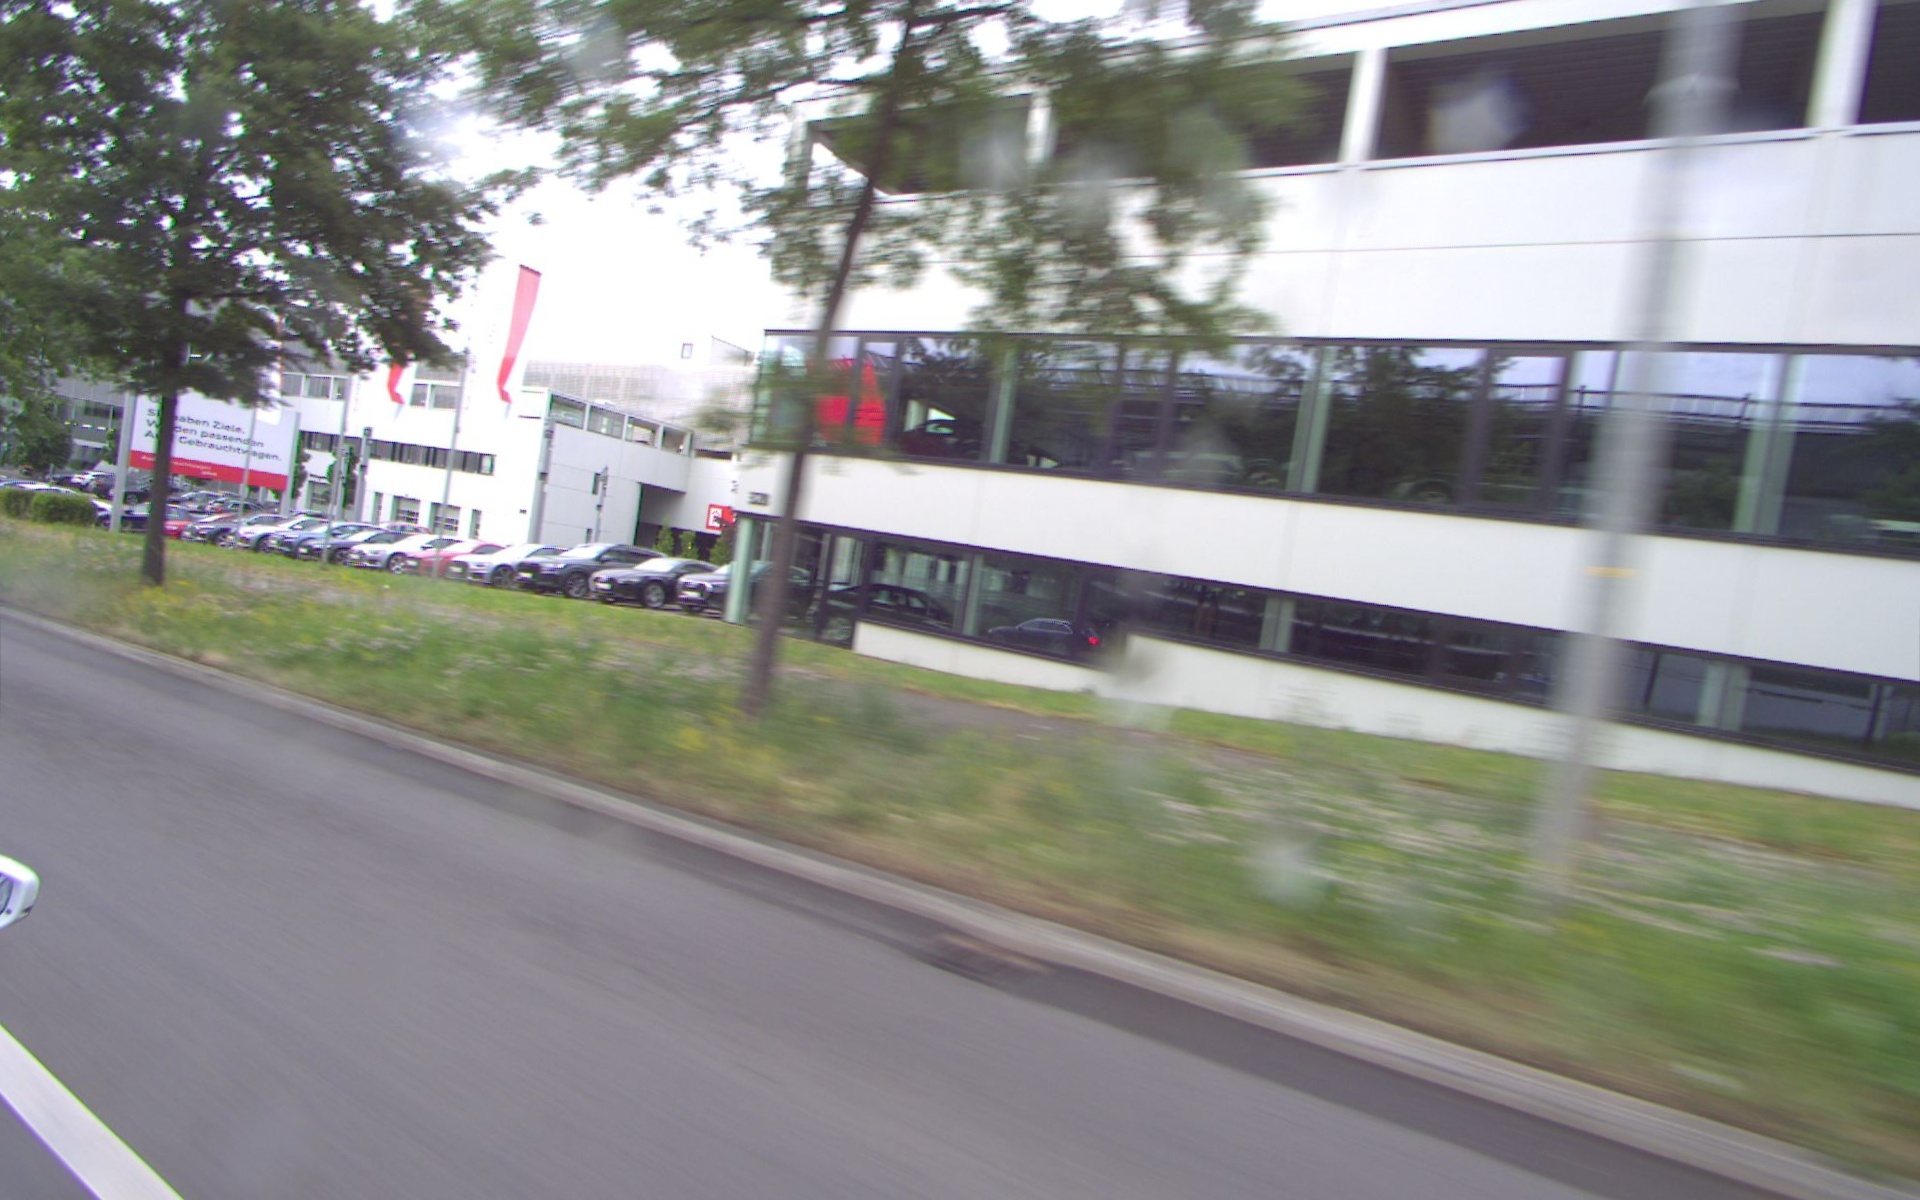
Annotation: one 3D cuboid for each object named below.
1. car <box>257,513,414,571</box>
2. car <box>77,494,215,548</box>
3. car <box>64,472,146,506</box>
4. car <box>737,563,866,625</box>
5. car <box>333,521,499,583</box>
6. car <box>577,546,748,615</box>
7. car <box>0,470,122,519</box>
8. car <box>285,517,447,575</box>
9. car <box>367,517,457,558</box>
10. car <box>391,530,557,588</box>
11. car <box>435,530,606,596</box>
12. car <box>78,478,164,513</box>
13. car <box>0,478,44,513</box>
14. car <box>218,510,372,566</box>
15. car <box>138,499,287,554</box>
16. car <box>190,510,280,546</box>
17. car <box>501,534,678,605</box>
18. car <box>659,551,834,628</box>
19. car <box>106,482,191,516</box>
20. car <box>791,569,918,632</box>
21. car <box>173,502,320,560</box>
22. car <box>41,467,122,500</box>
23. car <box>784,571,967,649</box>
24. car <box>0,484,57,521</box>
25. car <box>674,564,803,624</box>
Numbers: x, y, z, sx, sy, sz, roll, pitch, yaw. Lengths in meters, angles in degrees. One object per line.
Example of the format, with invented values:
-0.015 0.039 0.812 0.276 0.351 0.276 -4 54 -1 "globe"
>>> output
-22.872 -2.090 37.015 1.899 1.547 4.466 6 0 31 "car"
-34.771 -3.354 43.049 4.279 1.613 1.838 7 0 0 "car"
-61.818 -8.006 72.783 1.664 1.592 4.114 8 -1 30 "car"
-5.131 -0.157 33.120 1.796 1.570 4.284 6 -1 29 "car"
-18.155 -1.569 33.777 1.899 1.473 4.468 6 -1 31 "car"
-7.939 -0.469 27.276 1.805 1.395 4.326 6 0 29 "car"
-44.174 -5.131 49.408 1.913 1.613 4.119 6 -2 23 "car"
-20.712 -1.852 35.287 1.899 1.474 4.466 6 0 31 "car"
-35.133 -3.967 64.583 1.968 1.877 4.531 7 -1 35 "car"
-15.372 -1.267 32.075 1.899 1.365 4.402 6 0 31 "car"
-13.196 -1.074 30.456 1.859 1.445 4.402 6 0 31 "car"
-57.864 -7.190 69.442 1.795 1.592 4.114 8 -1 30 "car"
-52.514 -5.847 54.049 1.664 1.613 4.527 6 -1 30 "car"
-25.375 -2.335 38.524 1.899 1.570 4.466 6 0 31 "car"
-30.526 -2.970 41.238 1.897 1.569 4.471 6 -1 27 "car"
-44.780 -4.439 62.252 1.664 1.593 4.113 6 -1 30 "car"
-10.574 -0.828 29.020 2.006 1.519 4.402 6 0 31 "car"
-5.457 -0.226 26.261 1.899 1.499 4.404 6 -1 31 "car"
-55.261 -6.865 68.567 1.664 1.593 4.112 9 0 30 "car"
-3.278 0.069 32.164 1.796 1.570 4.284 6 -1 29 "car"
-28.010 -2.668 39.640 1.796 1.613 4.284 6 -1 29 "car"
-65.524 -8.670 75.064 1.730 1.592 4.114 8 -1 30 "car"
-2.015 0.226 23.908 3.857 1.354 1.900 6 -1 31 "car"
-50.741 -5.324 53.149 1.664 1.612 4.114 6 -2 30 "car"
-7.493 -0.152 34.380 1.796 1.570 4.284 6 -1 29 "car"
